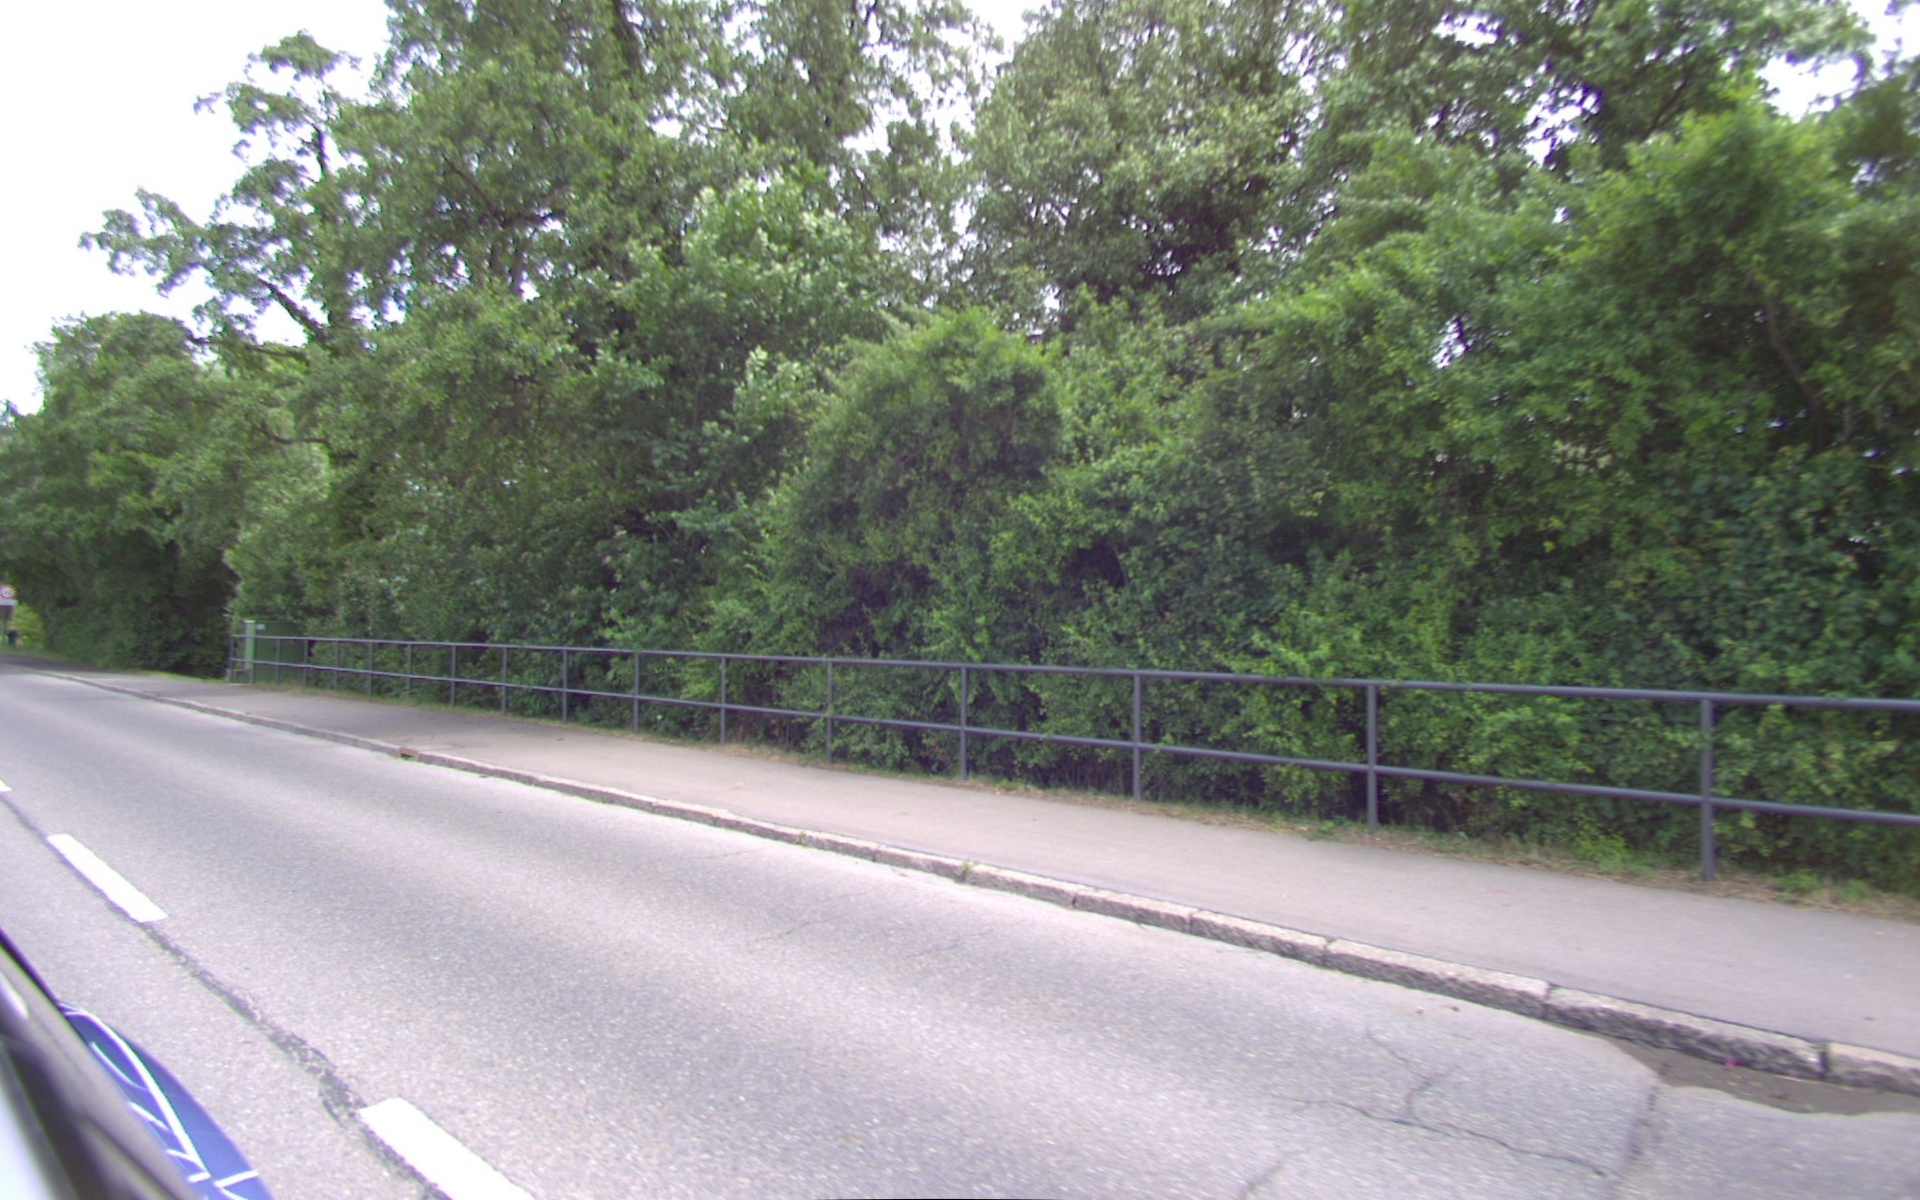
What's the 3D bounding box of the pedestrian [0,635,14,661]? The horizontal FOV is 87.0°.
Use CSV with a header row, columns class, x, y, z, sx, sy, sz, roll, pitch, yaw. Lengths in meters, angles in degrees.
class,x,y,z,sx,sy,sz,roll,pitch,yaw
pedestrian,-61.572,3.102,65.291,0.695,1.606,0.708,2,-5,-38
